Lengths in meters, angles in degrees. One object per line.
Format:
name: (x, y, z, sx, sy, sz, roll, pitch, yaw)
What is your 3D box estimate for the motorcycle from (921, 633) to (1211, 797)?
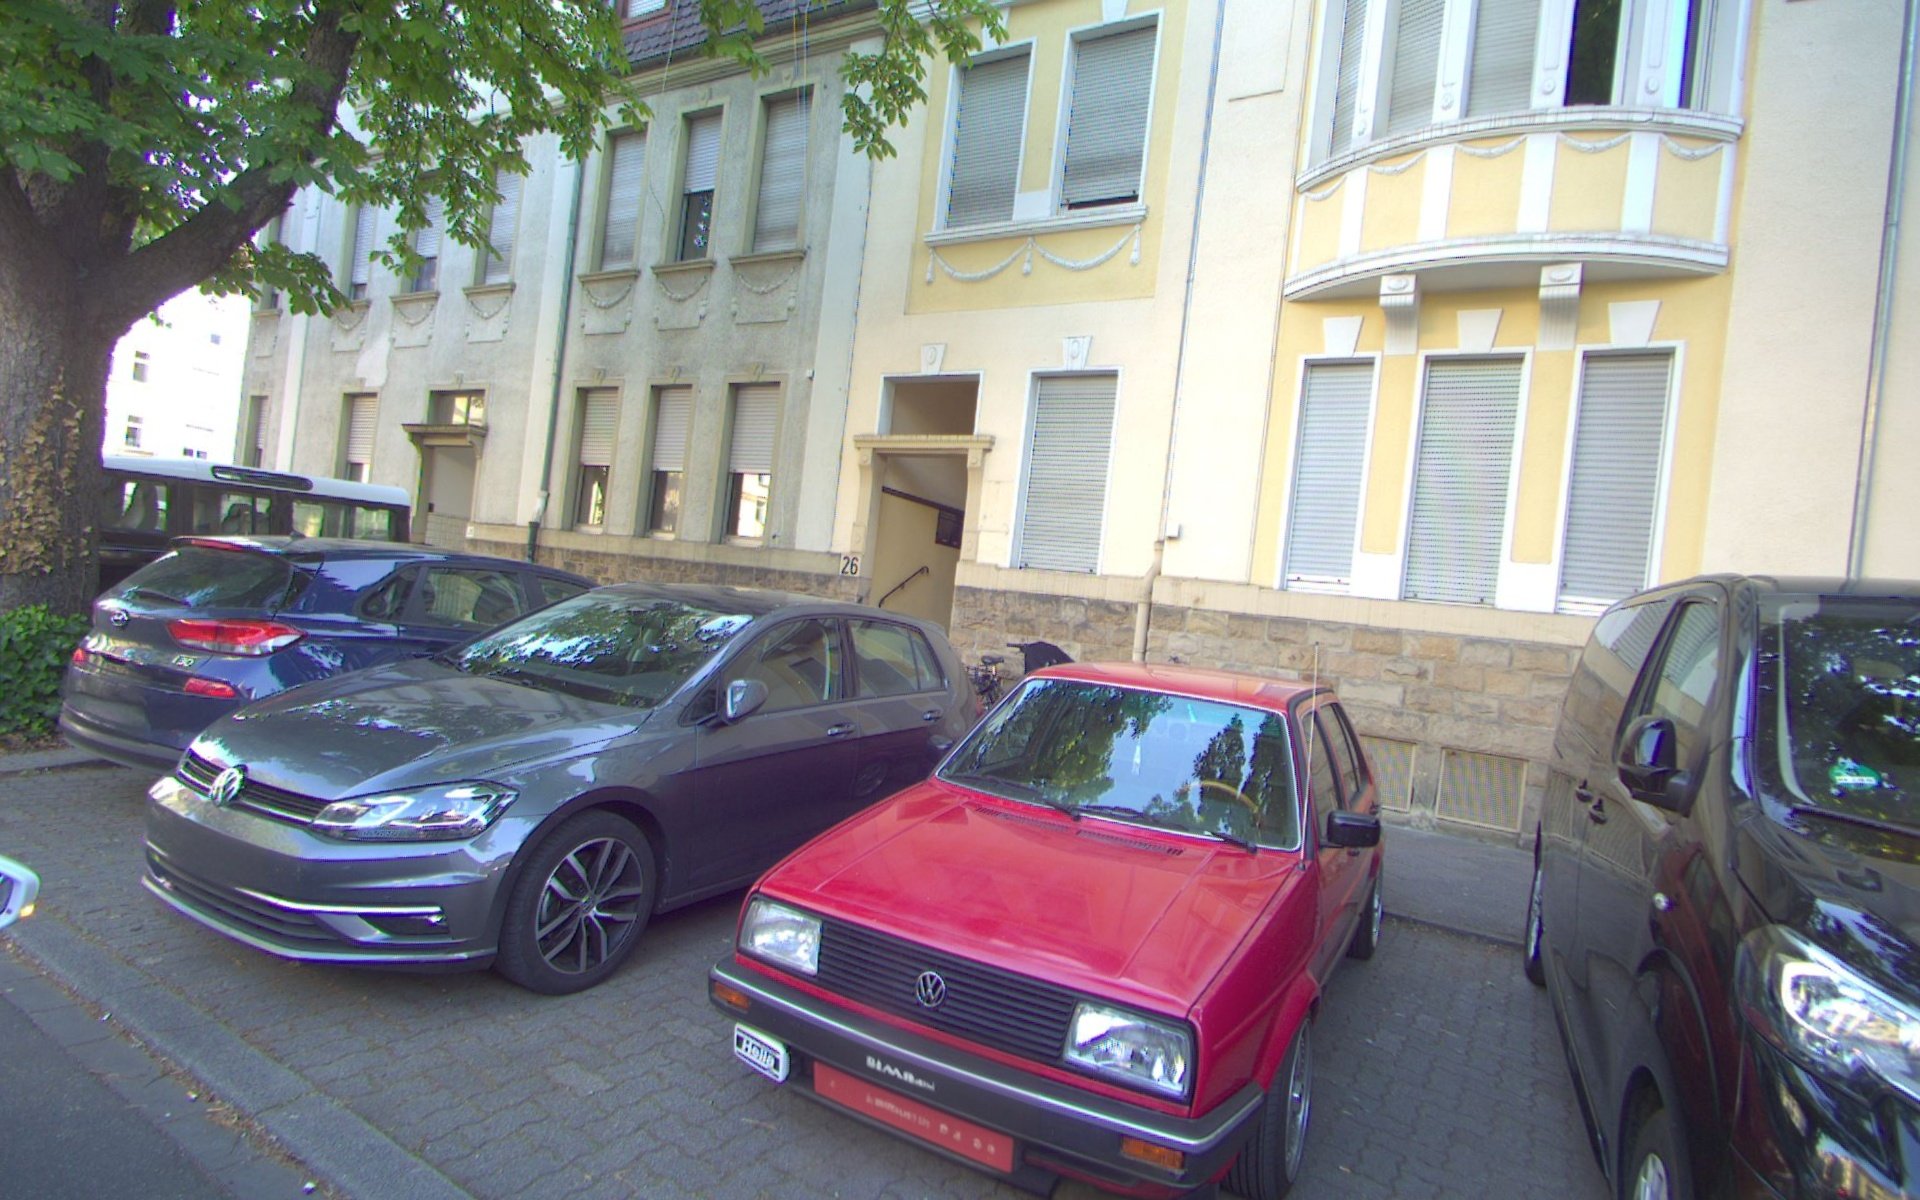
motorcycle: (0.953, 0.996, 9.398, 2.439, 1.087, 0.959, 7, 2, 32)

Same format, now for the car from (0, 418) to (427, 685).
car: (-7.596, -0.369, 9.239, 1.671, 2.061, 4.473, 6, 0, 28)

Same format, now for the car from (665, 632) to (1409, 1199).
car: (0.872, 0.946, 4.307, 1.601, 1.332, 4.144, 6, 0, 27)

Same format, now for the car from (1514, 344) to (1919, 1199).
car: (2.849, 0.870, 2.880, 1.864, 1.898, 4.759, 6, 0, 27)

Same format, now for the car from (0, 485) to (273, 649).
car: (-9.990, -0.386, 10.940, 1.679, 1.589, 3.730, 6, 0, 28)

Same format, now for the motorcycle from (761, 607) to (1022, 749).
motorcycle: (-0.793, 0.775, 10.787, 2.822, 1.087, 0.694, 7, 2, 31)

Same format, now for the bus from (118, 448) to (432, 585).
bus: (-22.476, -2.584, 33.721, 2.859, 3.240, 8.199, 7, -1, 24)

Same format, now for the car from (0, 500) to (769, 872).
car: (-3.088, 0.425, 6.202, 1.679, 1.470, 3.730, 6, 0, 28)

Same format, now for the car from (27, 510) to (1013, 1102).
car: (-1.435, 0.621, 4.819, 1.693, 1.470, 4.060, 6, 0, 28)
